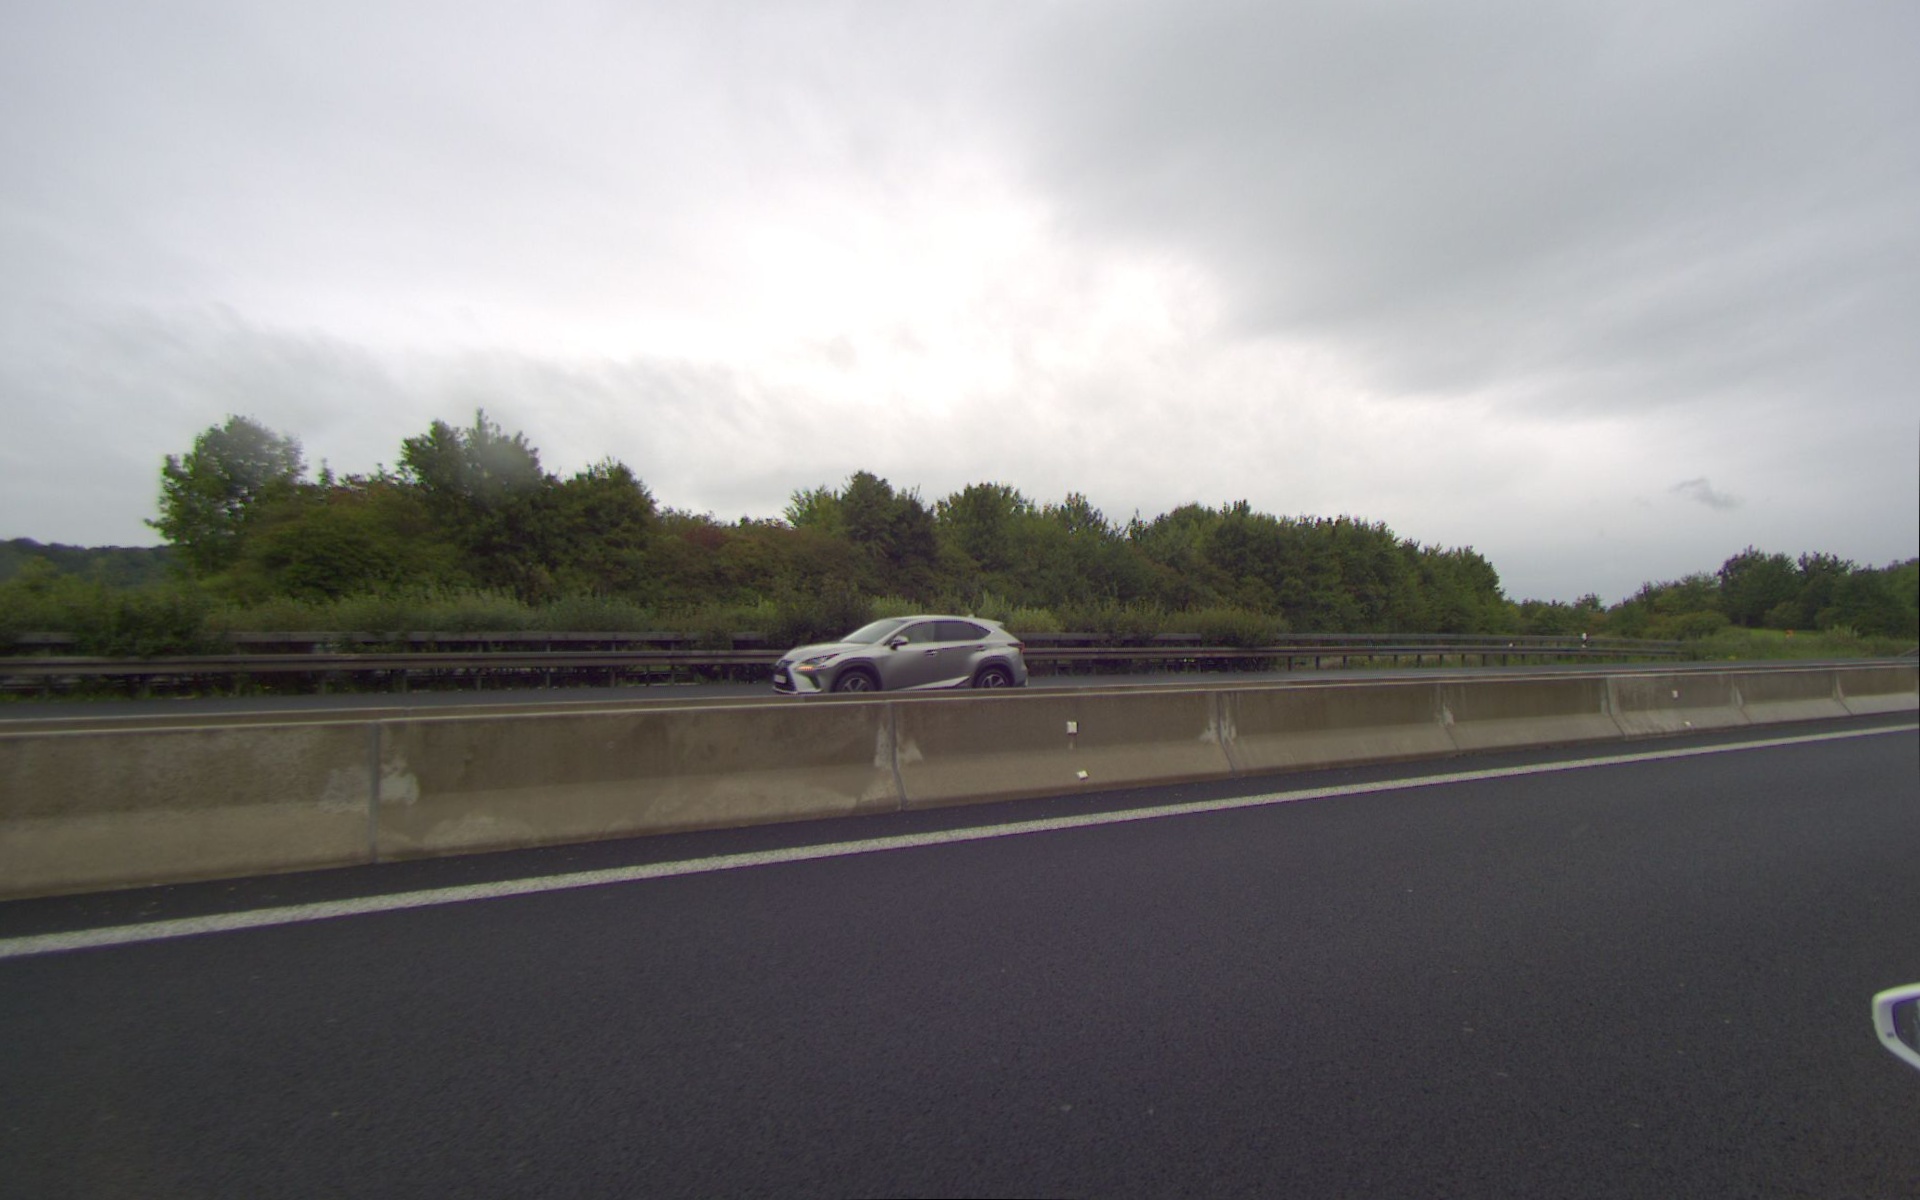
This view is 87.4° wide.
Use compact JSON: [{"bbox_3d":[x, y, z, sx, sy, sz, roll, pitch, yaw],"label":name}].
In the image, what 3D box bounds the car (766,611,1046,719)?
[{"bbox_3d":[-0.897,1.091,17.559,4.549,1.672,1.883,2,-2,-31],"label":"car"}]
